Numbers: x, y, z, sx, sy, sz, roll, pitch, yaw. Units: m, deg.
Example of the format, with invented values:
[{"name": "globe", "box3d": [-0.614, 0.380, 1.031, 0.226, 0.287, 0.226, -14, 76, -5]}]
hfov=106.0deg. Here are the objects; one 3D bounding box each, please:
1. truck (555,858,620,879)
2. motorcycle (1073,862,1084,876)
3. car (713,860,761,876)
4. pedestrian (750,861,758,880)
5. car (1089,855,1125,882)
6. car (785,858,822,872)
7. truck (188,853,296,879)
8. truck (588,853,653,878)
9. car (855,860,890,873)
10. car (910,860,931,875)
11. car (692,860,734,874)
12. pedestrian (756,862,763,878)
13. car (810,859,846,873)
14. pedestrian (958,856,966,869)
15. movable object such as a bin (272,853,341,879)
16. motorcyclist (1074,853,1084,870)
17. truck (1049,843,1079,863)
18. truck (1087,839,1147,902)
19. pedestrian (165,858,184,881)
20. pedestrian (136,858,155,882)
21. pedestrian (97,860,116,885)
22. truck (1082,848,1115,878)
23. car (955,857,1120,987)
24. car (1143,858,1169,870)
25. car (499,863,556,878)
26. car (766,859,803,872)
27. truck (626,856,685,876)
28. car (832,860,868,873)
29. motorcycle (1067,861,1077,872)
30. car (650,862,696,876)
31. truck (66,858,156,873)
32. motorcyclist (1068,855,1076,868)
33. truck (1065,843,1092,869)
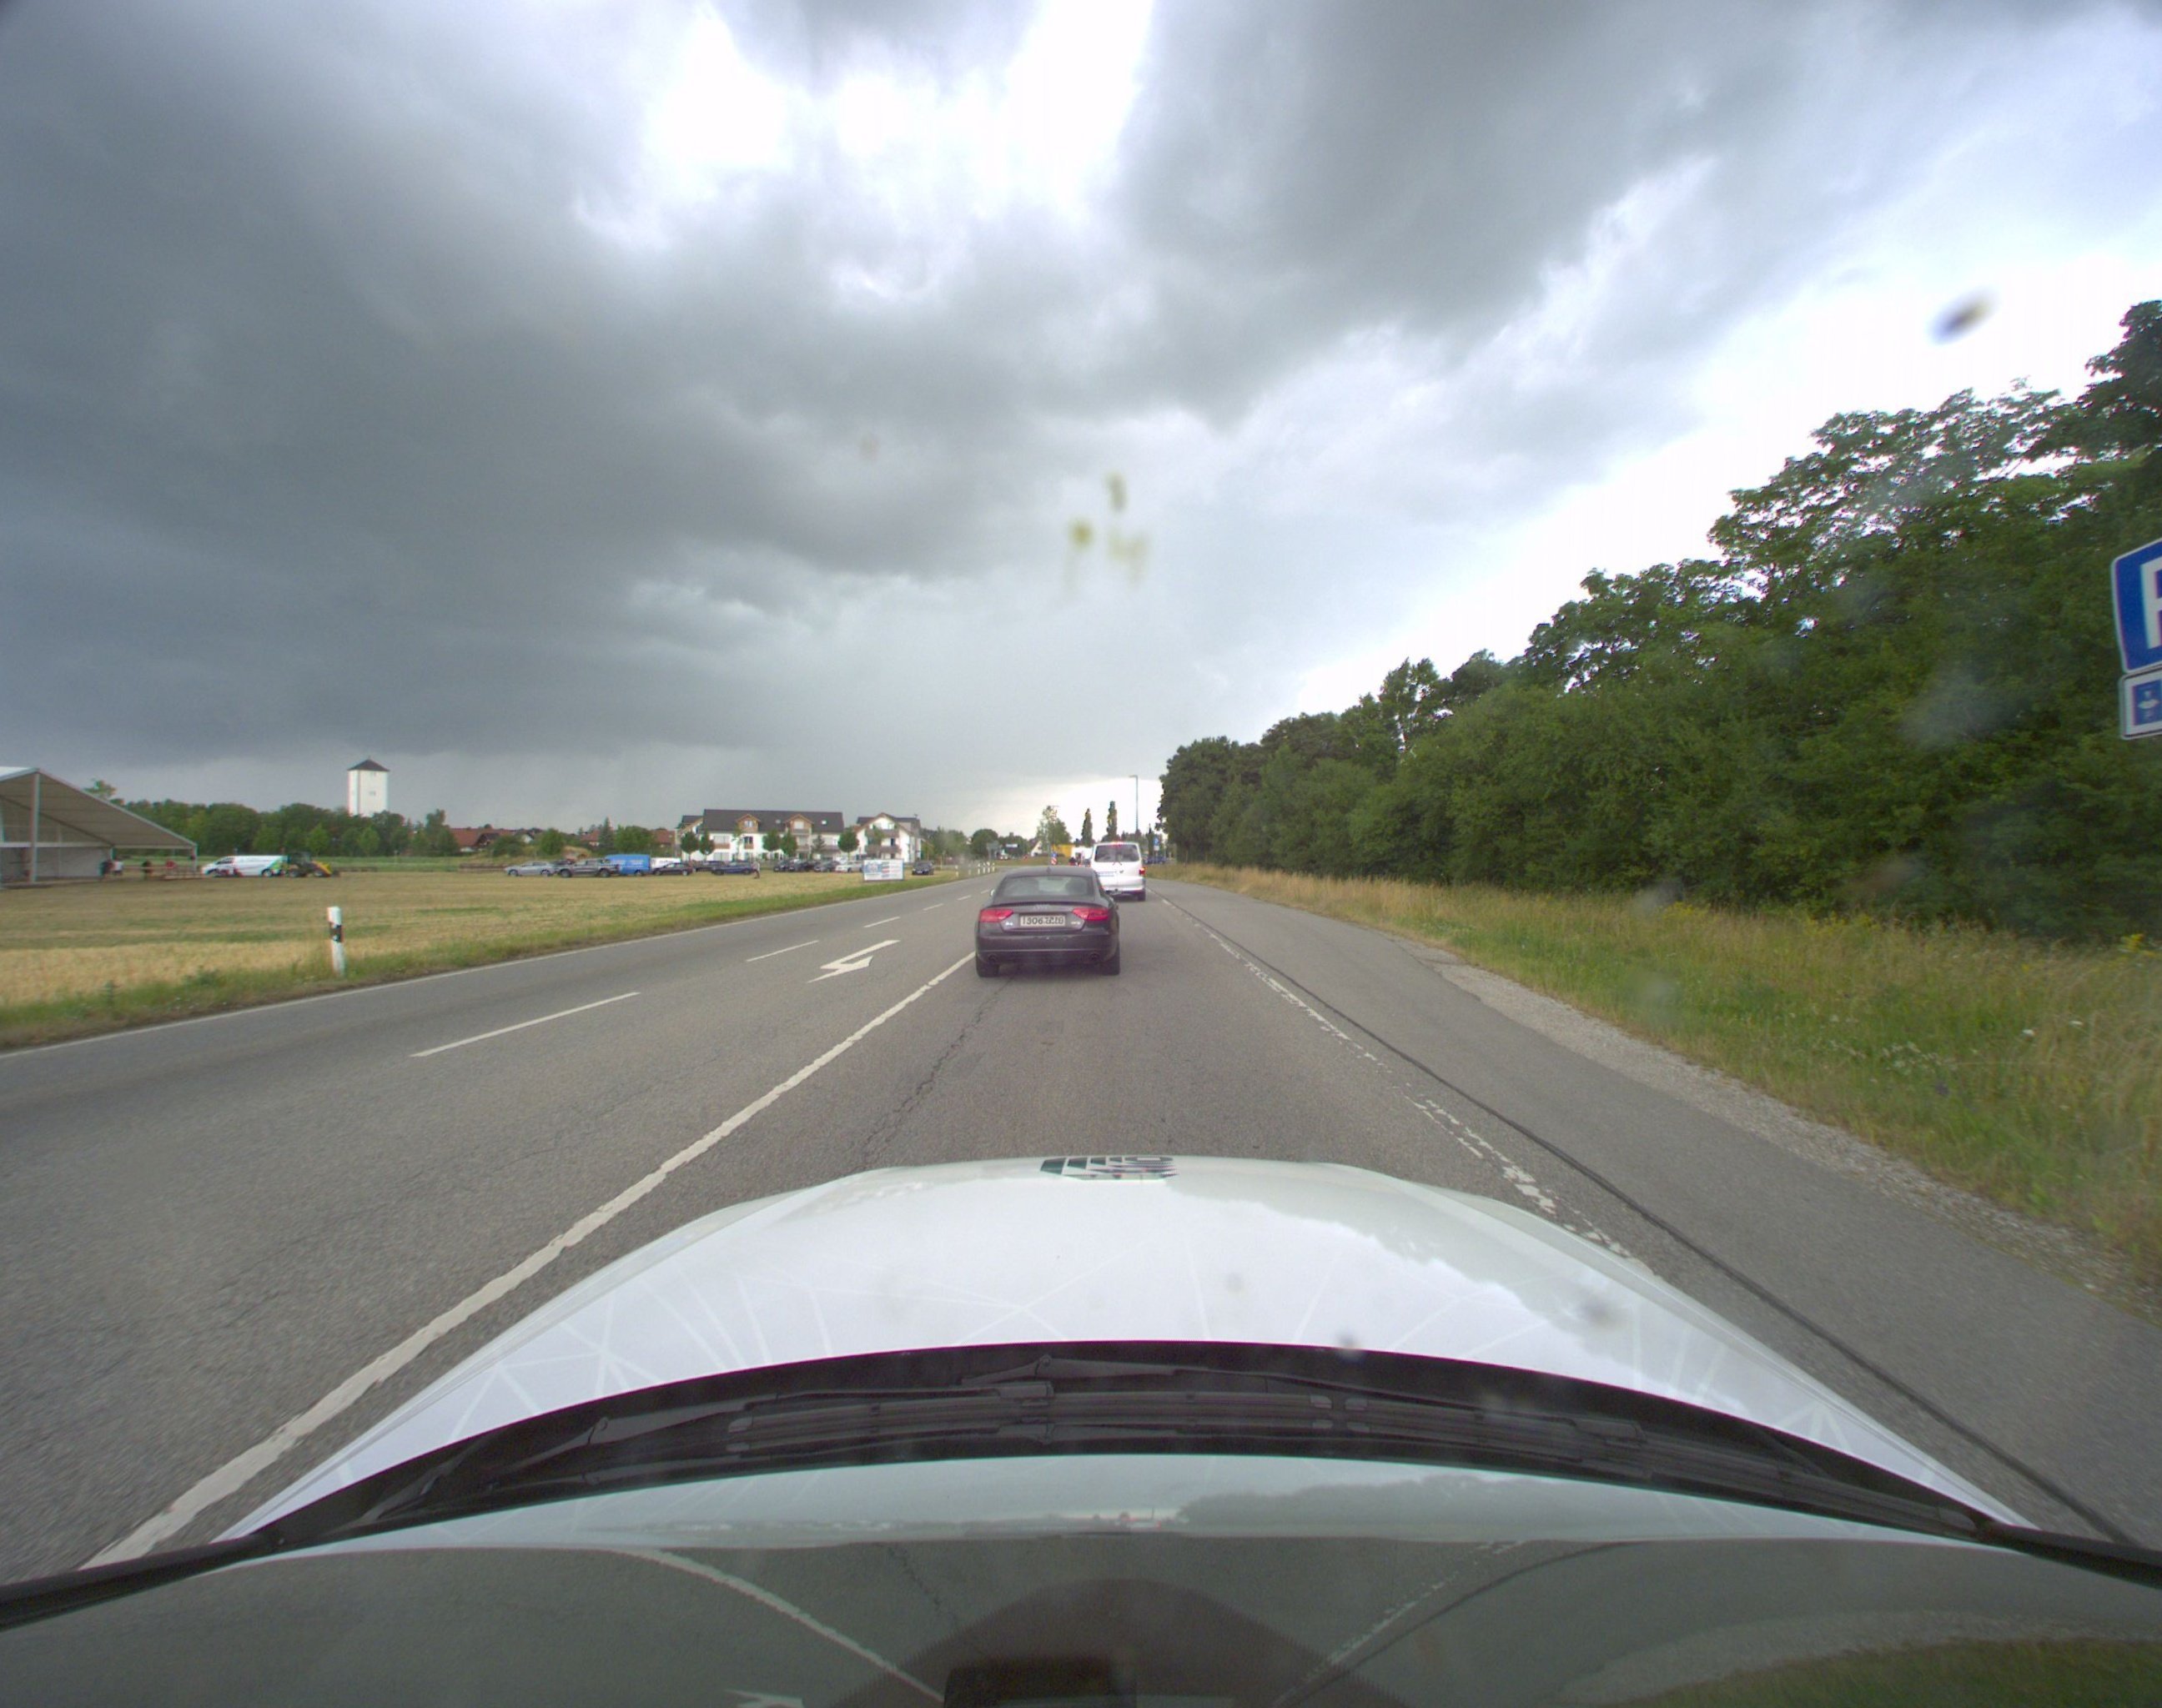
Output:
[{"name": "truck", "box3d": [-48.020, 1.377, 79.386, 5.251, 1.920, 2.095, 0, -1, -25]}, {"name": "motorcycle", "box3d": [-0.200, 1.193, 66.313, 0.917, 1.094, 2.188, 0, 0, 0]}, {"name": "car", "box3d": [-38.136, 1.543, 90.383, 4.729, 1.697, 1.987, 0, 0, -19]}, {"name": "pedestrian", "box3d": [-31.166, 1.529, 77.616, 0.548, 1.786, 0.676, 0, -1, -10]}, {"name": "car", "box3d": [1.518, 0.805, 47.294, 1.986, 1.485, 4.001, 0, 0, 1]}, {"name": "car", "box3d": [-33.378, 1.358, 97.979, 1.977, 1.629, 4.233, -1, 0, 20]}, {"name": "truck", "box3d": [-74.895, 1.057, 72.847, 6.075, 2.217, 2.698, 0, 0, -26]}, {"name": "truck", "box3d": [-47.166, 1.142, 83.513, 5.468, 2.446, 2.377, 0, -1, -21]}, {"name": "car", "box3d": [-24.631, 1.495, 96.492, 1.977, 1.446, 4.233, -1, 0, 20]}, {"name": "car", "box3d": [-16.456, 1.371, 83.677, 1.993, 1.442, 3.988, 0, 0, -9]}, {"name": "car", "box3d": [-46.206, 1.570, 102.357, 4.639, 1.697, 1.987, 0, 0, -19]}, {"name": "pedestrian", "box3d": [-31.082, 1.551, 78.671, 0.591, 1.555, 0.622, 0, -1, -17]}, {"name": "car", "box3d": [-30.244, 1.411, 97.446, 1.977, 1.536, 4.233, -1, 0, 20]}, {"name": "pedestrian", "box3d": [-14.731, 1.001, 100.738, 0.695, 1.586, 0.661, -1, -1, 19]}, {"name": "movable object such as a bin", "box3d": [-68.427, 1.071, 72.029, 4.005, 2.243, 1.869, 0, -1, -26]}, {"name": "motorcyclist", "box3d": [-0.187, 0.643, 66.327, 0.769, 1.383, 0.820, 0, 0, 1]}, {"name": "truck", "box3d": [-3.269, -0.197, 154.034, 3.581, 3.578, 9.908, 0, 0, -14]}, {"name": "truck", "box3d": [1.240, 0.525, 28.182, 1.897, 1.998, 4.631, 0, 0, 2]}, {"name": "pedestrian", "box3d": [-71.932, 1.238, 64.619, 0.690, 1.776, 0.690, 0, -1, -18]}, {"name": "pedestrian", "box3d": [-73.046, 1.257, 63.599, 0.620, 1.866, 0.710, 0, -1, 7]}, {"name": "pedestrian", "box3d": [-70.619, 1.360, 59.017, 0.696, 1.776, 0.684, 0, -1, -28]}, {"name": "truck", "box3d": [1.261, 0.614, 56.582, 2.185, 2.014, 5.087, 0, 0, 2]}, {"name": "car", "box3d": [-0.407, 0.796, 11.474, 1.867, 1.454, 4.180, -1, 0, 3]}, {"name": "car", "box3d": [12.341, 1.624, 134.086, 3.952, 2.014, 2.011, 0, -1, 22]}, {"name": "car", "box3d": [-54.821, 1.614, 80.749, 4.315, 1.461, 1.876, 0, 0, -25]}, {"name": "car", "box3d": [-36.465, 1.393, 100.133, 1.977, 1.629, 4.233, -1, 0, 20]}, {"name": "truck", "box3d": [-47.557, 1.318, 91.108, 5.585, 2.196, 2.589, 0, 0, -21]}, {"name": "car", "box3d": [-27.505, 1.434, 96.965, 1.977, 1.446, 4.233, -1, 0, 20]}, {"name": "motorcycle", "box3d": [-0.851, 1.238, 80.024, 0.941, 1.019, 2.284, 0, 0, 0]}, {"name": "car", "box3d": [-44.148, 1.622, 88.184, 4.167, 1.519, 1.987, 0, 0, -19]}, {"name": "truck", "box3d": [-165.318, 1.955, 138.911, 9.383, 2.530, 3.275, 0, 0, -22]}, {"name": "motorcyclist", "box3d": [-0.847, 0.734, 80.049, 0.783, 1.356, 0.854, 0, 0, 0]}, {"name": "truck", "box3d": [-0.331, 0.214, 91.076, 2.622, 2.737, 5.857, 0, 0, -5]}]
